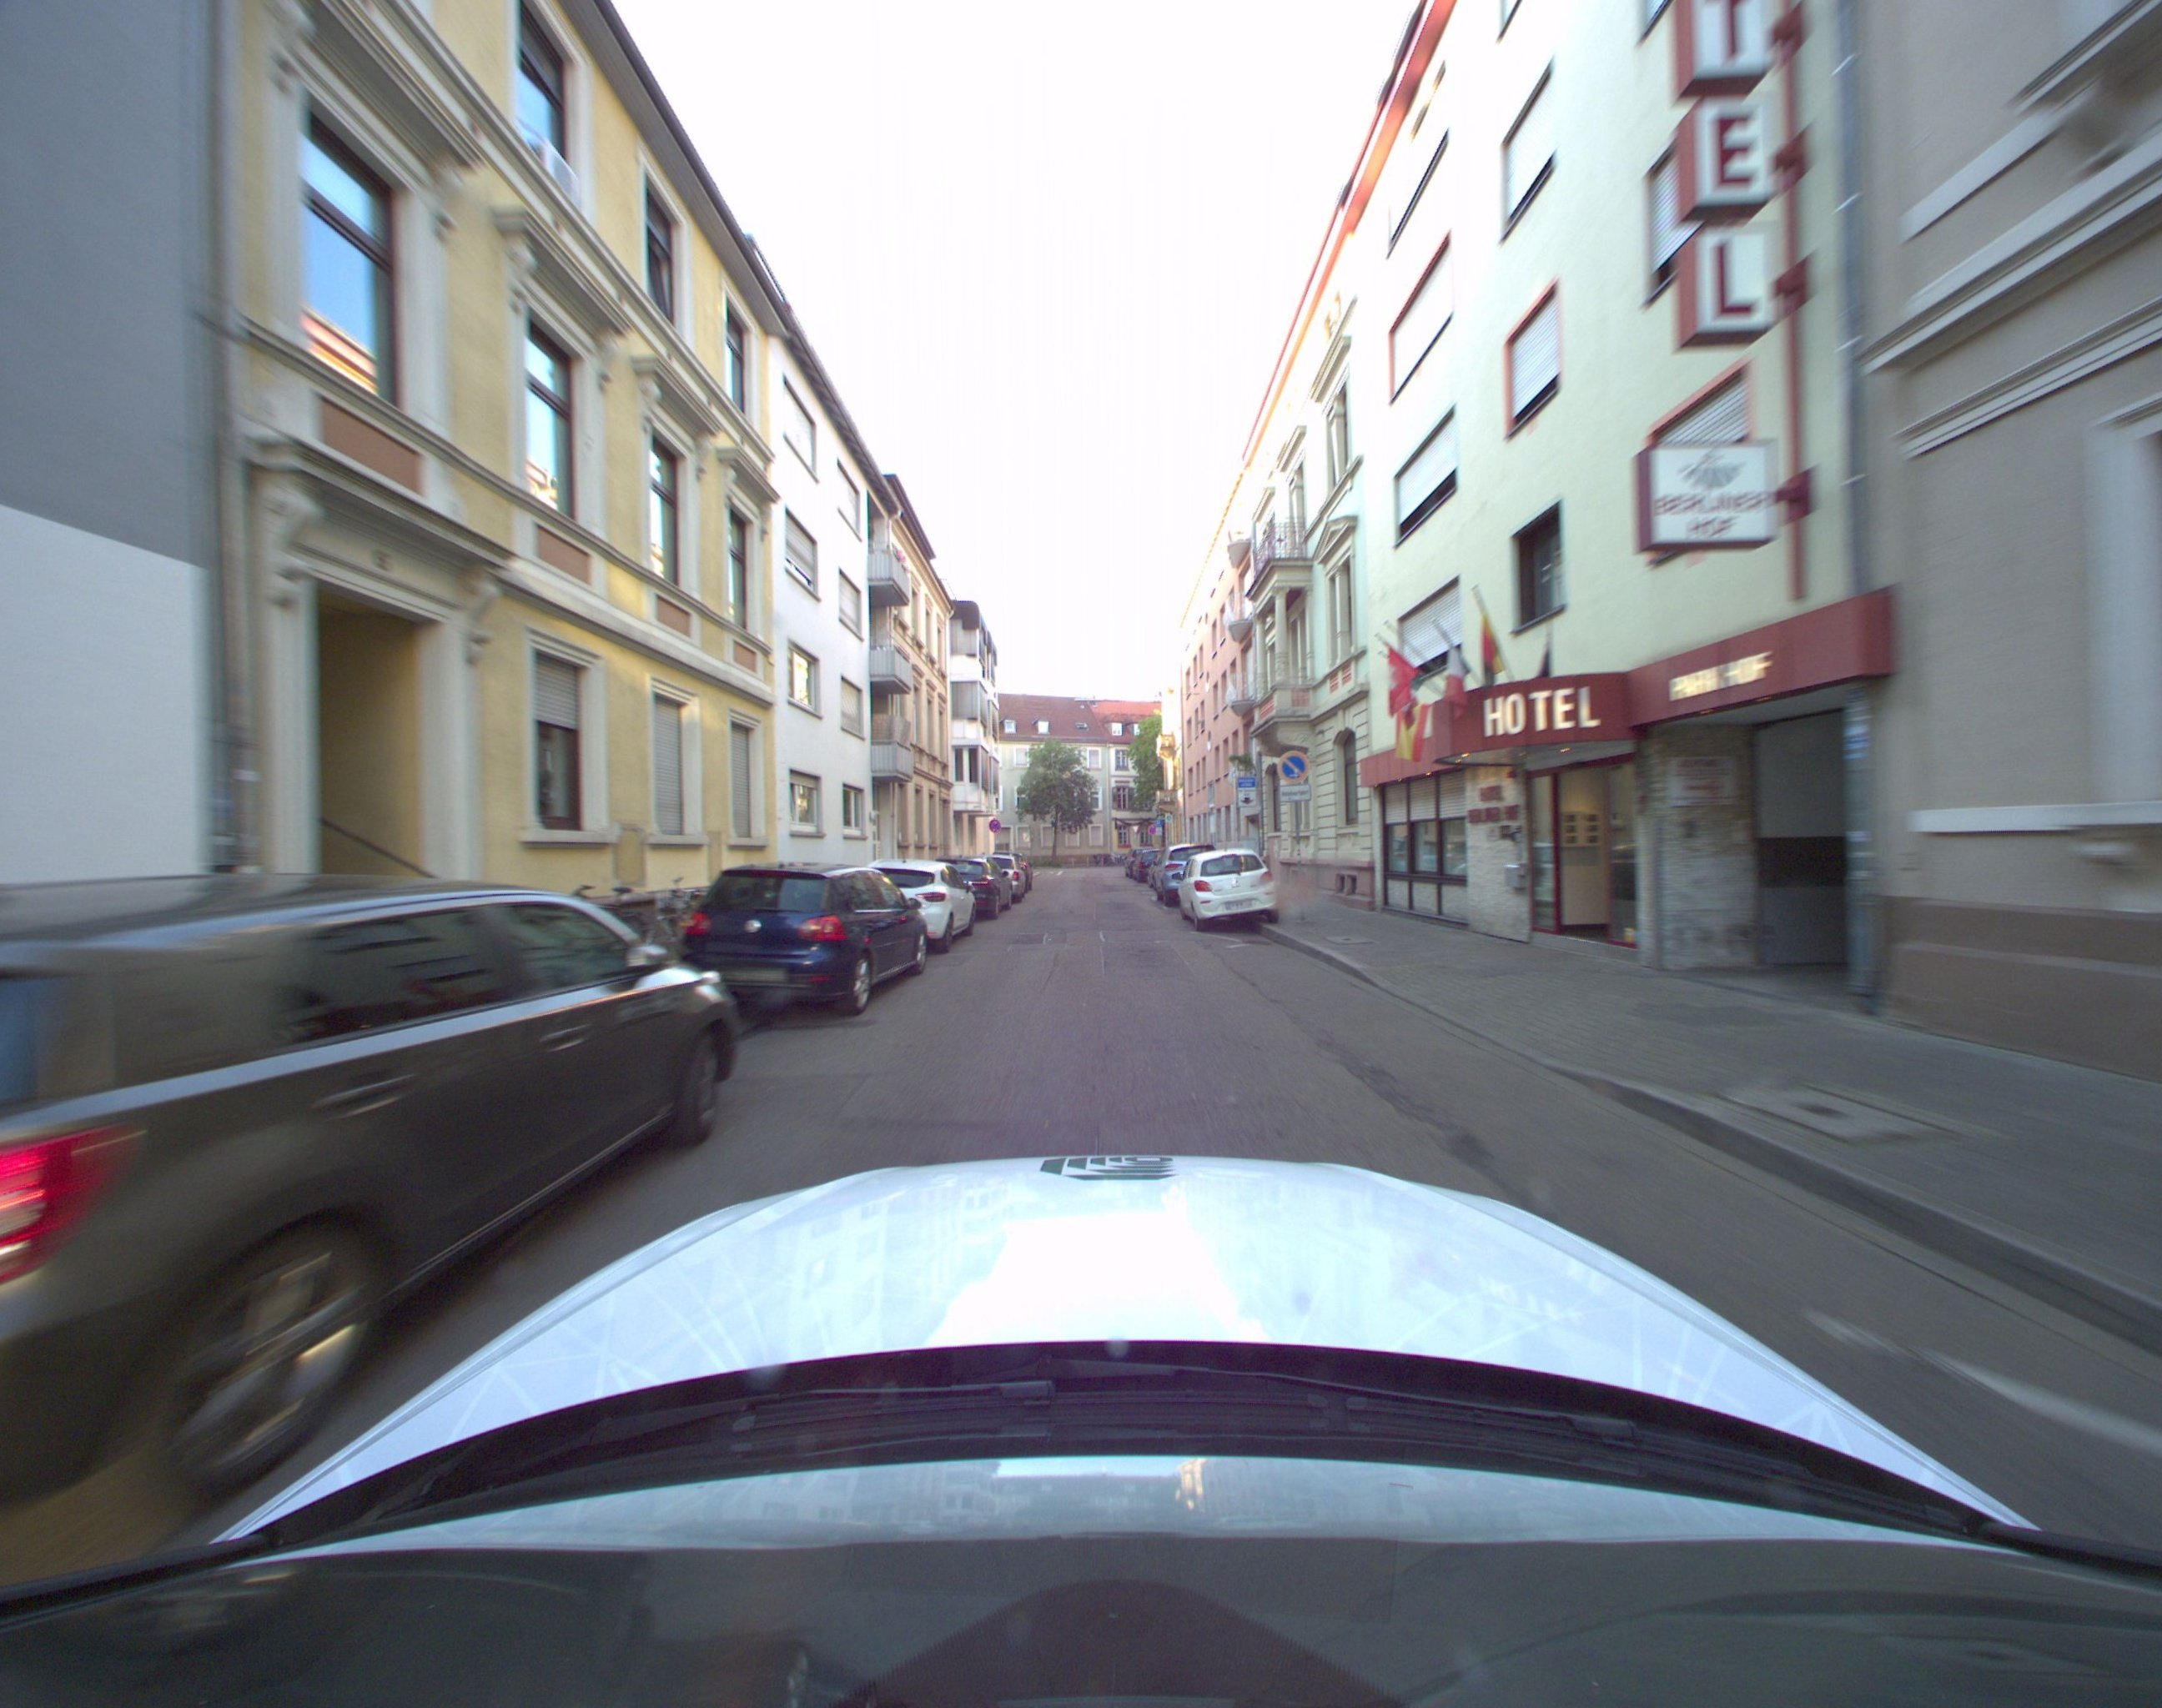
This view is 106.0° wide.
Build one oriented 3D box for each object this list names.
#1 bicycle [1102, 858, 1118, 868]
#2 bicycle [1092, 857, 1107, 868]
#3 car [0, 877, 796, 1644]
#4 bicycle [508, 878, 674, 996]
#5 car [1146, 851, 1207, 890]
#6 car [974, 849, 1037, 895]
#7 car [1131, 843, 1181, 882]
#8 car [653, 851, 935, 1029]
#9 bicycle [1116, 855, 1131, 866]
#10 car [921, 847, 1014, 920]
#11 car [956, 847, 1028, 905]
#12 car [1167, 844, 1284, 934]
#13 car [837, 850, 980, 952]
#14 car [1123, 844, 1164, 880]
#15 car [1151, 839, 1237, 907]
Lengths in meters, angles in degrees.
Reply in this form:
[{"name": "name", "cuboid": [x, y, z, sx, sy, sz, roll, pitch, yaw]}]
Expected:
[{"name": "bicycle", "cuboid": [2.650, 0.841, 74.513, 0.521, 0.894, 1.708, -2, 1, -32]}, {"name": "bicycle", "cuboid": [1.759, 0.803, 75.952, 0.521, 0.949, 1.707, -1, -1, -32]}, {"name": "car", "cuboid": [-2.828, 0.832, 3.495, 1.678, 1.332, 4.131, -2, -1, 1]}, {"name": "bicycle", "cuboid": [-5.530, 0.873, 9.368, 0.532, 1.118, 2.131, -2, 0, 2]}, {"name": "car", "cuboid": [3.666, 0.604, 31.827, 1.986, 1.384, 3.708, -2, 0, 2]}, {"name": "car", "cuboid": [-2.950, 0.677, 32.628, 1.986, 1.662, 3.979, -2, 0, 2]}, {"name": "car", "cuboid": [3.521, 0.383, 38.964, 1.987, 1.708, 3.999, -2, 0, 0]}, {"name": "car", "cuboid": [-2.909, 0.759, 9.202, 1.722, 1.509, 3.831, -2, 1, 1]}, {"name": "bicycle", "cuboid": [3.900, 0.601, 75.135, 0.521, 0.949, 1.707, -3, 0, -32]}, {"name": "car", "cuboid": [-2.726, 0.649, 20.406, 1.609, 1.570, 4.304, -2, 1, 1]}, {"name": "car", "cuboid": [-2.785, 0.646, 26.491, 1.989, 1.666, 4.405, -2, 0, -3]}, {"name": "car", "cuboid": [2.868, 0.619, 16.921, 1.657, 1.458, 3.760, -8, 1, 1]}, {"name": "car", "cuboid": [-2.874, 0.713, 14.358, 1.624, 1.472, 3.755, -2, 1, 1]}, {"name": "car", "cuboid": [3.330, 0.403, 44.062, 1.986, 1.761, 4.002, -2, 0, 2]}, {"name": "car", "cuboid": [3.159, 0.496, 23.486, 1.986, 1.732, 4.061, -2, 0, 1]}]
